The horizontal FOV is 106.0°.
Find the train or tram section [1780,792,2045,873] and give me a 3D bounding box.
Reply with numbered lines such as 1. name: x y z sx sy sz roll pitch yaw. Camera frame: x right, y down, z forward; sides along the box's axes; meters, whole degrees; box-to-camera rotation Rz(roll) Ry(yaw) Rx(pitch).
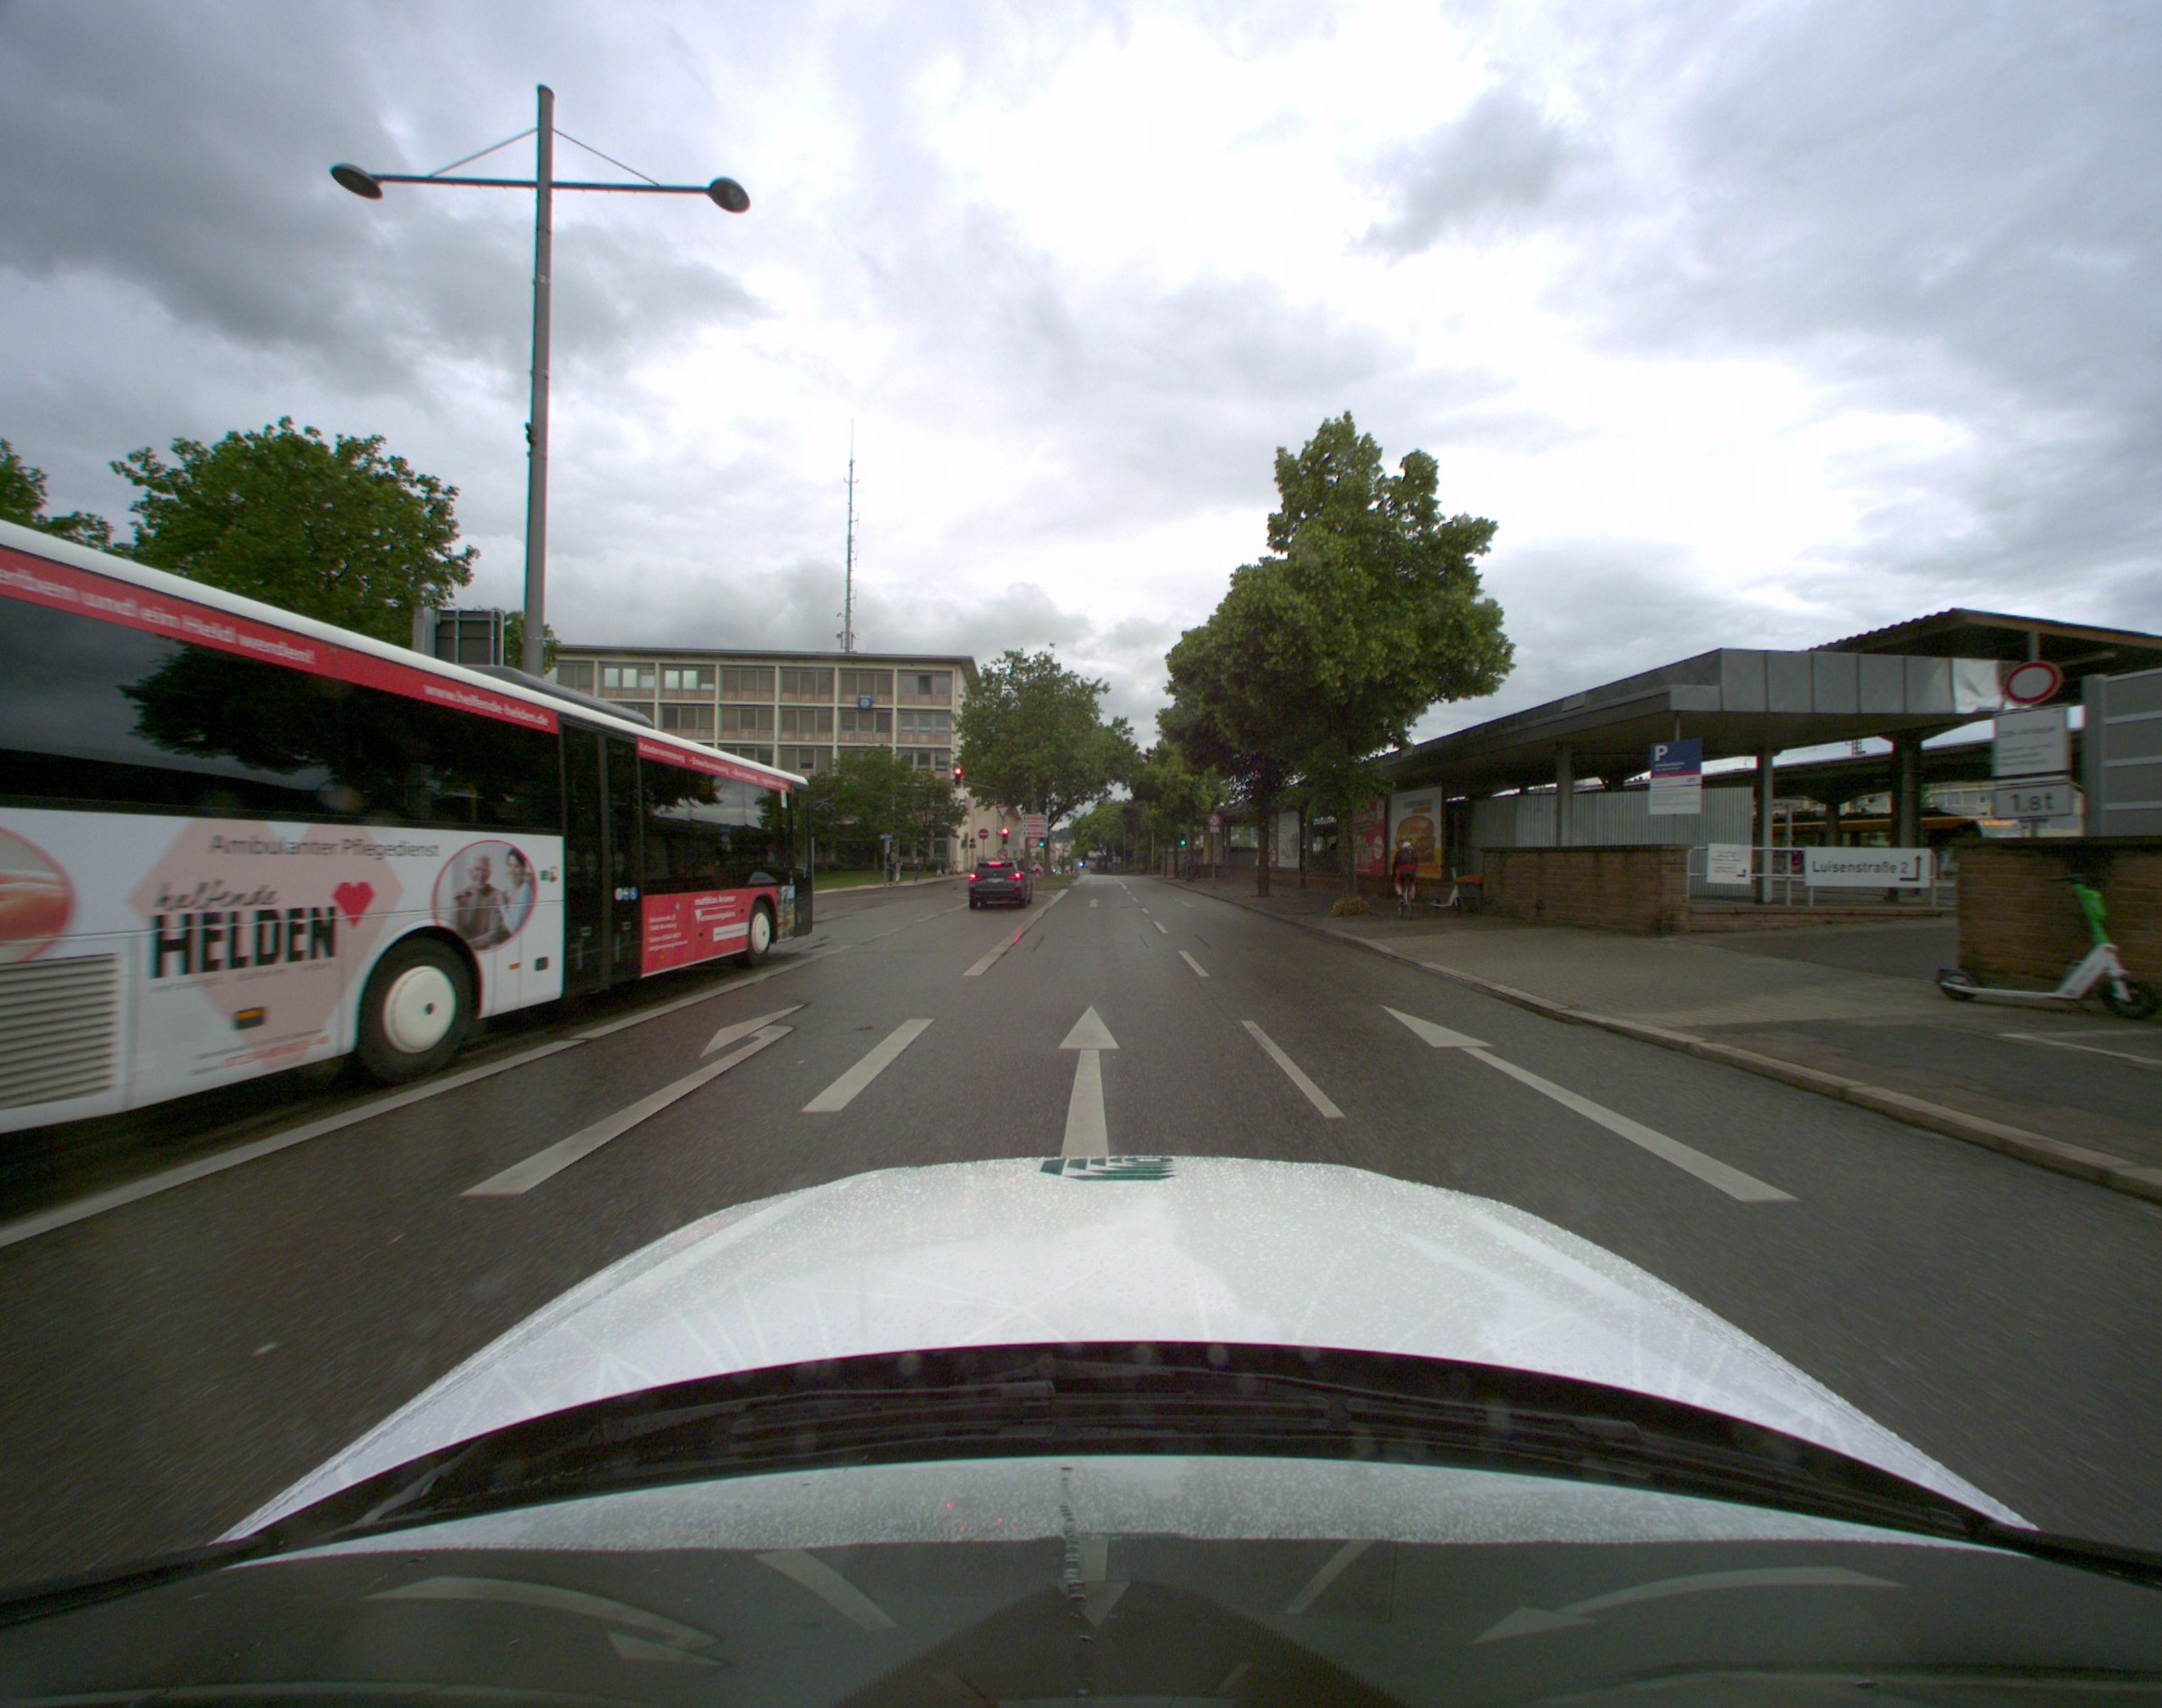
1. train or tram section: 38.487 -0.864 38.452 2.646 3.282 9.517 -2 -1 0

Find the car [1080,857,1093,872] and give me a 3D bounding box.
1. car: 0.911 1.895 146.346 2.257 2.656 3.998 -1 0 -1

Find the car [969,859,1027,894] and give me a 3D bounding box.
1. car: -3.657 0.926 35.221 1.819 1.409 4.391 -1 0 -15

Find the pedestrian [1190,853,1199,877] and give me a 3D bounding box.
1. pedestrian: 7.581 0.745 54.257 0.452 1.568 0.395 -1 0 32

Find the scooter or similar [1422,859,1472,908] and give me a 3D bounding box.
1. scooter or similar: 9.015 0.707 20.111 0.491 1.153 1.544 -1 -1 -2

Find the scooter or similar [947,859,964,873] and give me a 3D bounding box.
1. scooter or similar: -11.125 1.079 72.392 0.601 1.192 1.538 -1 -1 34

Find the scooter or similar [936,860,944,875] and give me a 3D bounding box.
1. scooter or similar: -11.333 1.059 65.526 0.487 1.167 1.500 -1 0 -3

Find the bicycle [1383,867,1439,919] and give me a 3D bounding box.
1. bicycle: 7.081 0.813 17.528 0.445 1.016 1.676 -3 0 -1

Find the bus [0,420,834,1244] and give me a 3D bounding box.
1. bus: -6.024 -0.075 8.771 2.946 3.439 12.555 -1 0 0

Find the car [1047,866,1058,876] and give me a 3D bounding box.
1. car: -4.936 2.936 140.617 1.817 1.660 4.333 -1 -1 -2

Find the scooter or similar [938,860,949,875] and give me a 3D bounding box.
1. scooter or similar: -11.320 1.106 67.140 0.567 1.192 1.576 -1 0 4

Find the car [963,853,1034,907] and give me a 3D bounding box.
1. car: -2.675 0.819 27.287 1.958 1.640 4.356 -1 0 -1

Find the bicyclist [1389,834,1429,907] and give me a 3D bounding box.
1. bicyclist: 7.124 0.347 17.710 0.532 1.538 0.694 -2 -1 -2

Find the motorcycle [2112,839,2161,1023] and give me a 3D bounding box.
1. motorcycle: 8.364 0.561 5.051 0.789 1.348 2.455 -1 0 -2

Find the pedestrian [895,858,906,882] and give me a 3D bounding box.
1. pedestrian: -12.563 1.104 56.705 0.652 1.710 0.795 -1 -1 -8

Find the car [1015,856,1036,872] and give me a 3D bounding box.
1. car: -5.626 1.014 82.508 1.835 1.508 4.102 -1 0 0

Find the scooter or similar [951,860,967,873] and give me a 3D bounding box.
1. scooter or similar: -11.030 1.127 73.715 0.601 1.164 1.538 -1 -1 34

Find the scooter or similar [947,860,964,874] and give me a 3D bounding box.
1. scooter or similar: -10.940 1.142 71.075 0.601 1.192 1.538 -1 -1 34

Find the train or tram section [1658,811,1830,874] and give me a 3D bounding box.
1. train or tram section: 38.490 -0.612 47.860 2.646 3.282 9.131 -1 0 0

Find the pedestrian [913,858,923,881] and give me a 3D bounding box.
1. pedestrian: -11.473 1.099 57.453 0.653 1.603 0.921 -1 -1 -11

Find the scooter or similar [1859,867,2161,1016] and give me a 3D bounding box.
1. scooter or similar: 8.131 0.695 7.238 0.494 1.153 1.704 0 -1 -19

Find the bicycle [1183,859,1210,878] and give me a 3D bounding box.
1. bicycle: 7.753 0.949 54.692 1.703 1.249 0.489 -1 0 32

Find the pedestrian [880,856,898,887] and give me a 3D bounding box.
1. pedestrian: -13.069 1.182 55.550 0.930 2.045 0.875 -1 -1 7
